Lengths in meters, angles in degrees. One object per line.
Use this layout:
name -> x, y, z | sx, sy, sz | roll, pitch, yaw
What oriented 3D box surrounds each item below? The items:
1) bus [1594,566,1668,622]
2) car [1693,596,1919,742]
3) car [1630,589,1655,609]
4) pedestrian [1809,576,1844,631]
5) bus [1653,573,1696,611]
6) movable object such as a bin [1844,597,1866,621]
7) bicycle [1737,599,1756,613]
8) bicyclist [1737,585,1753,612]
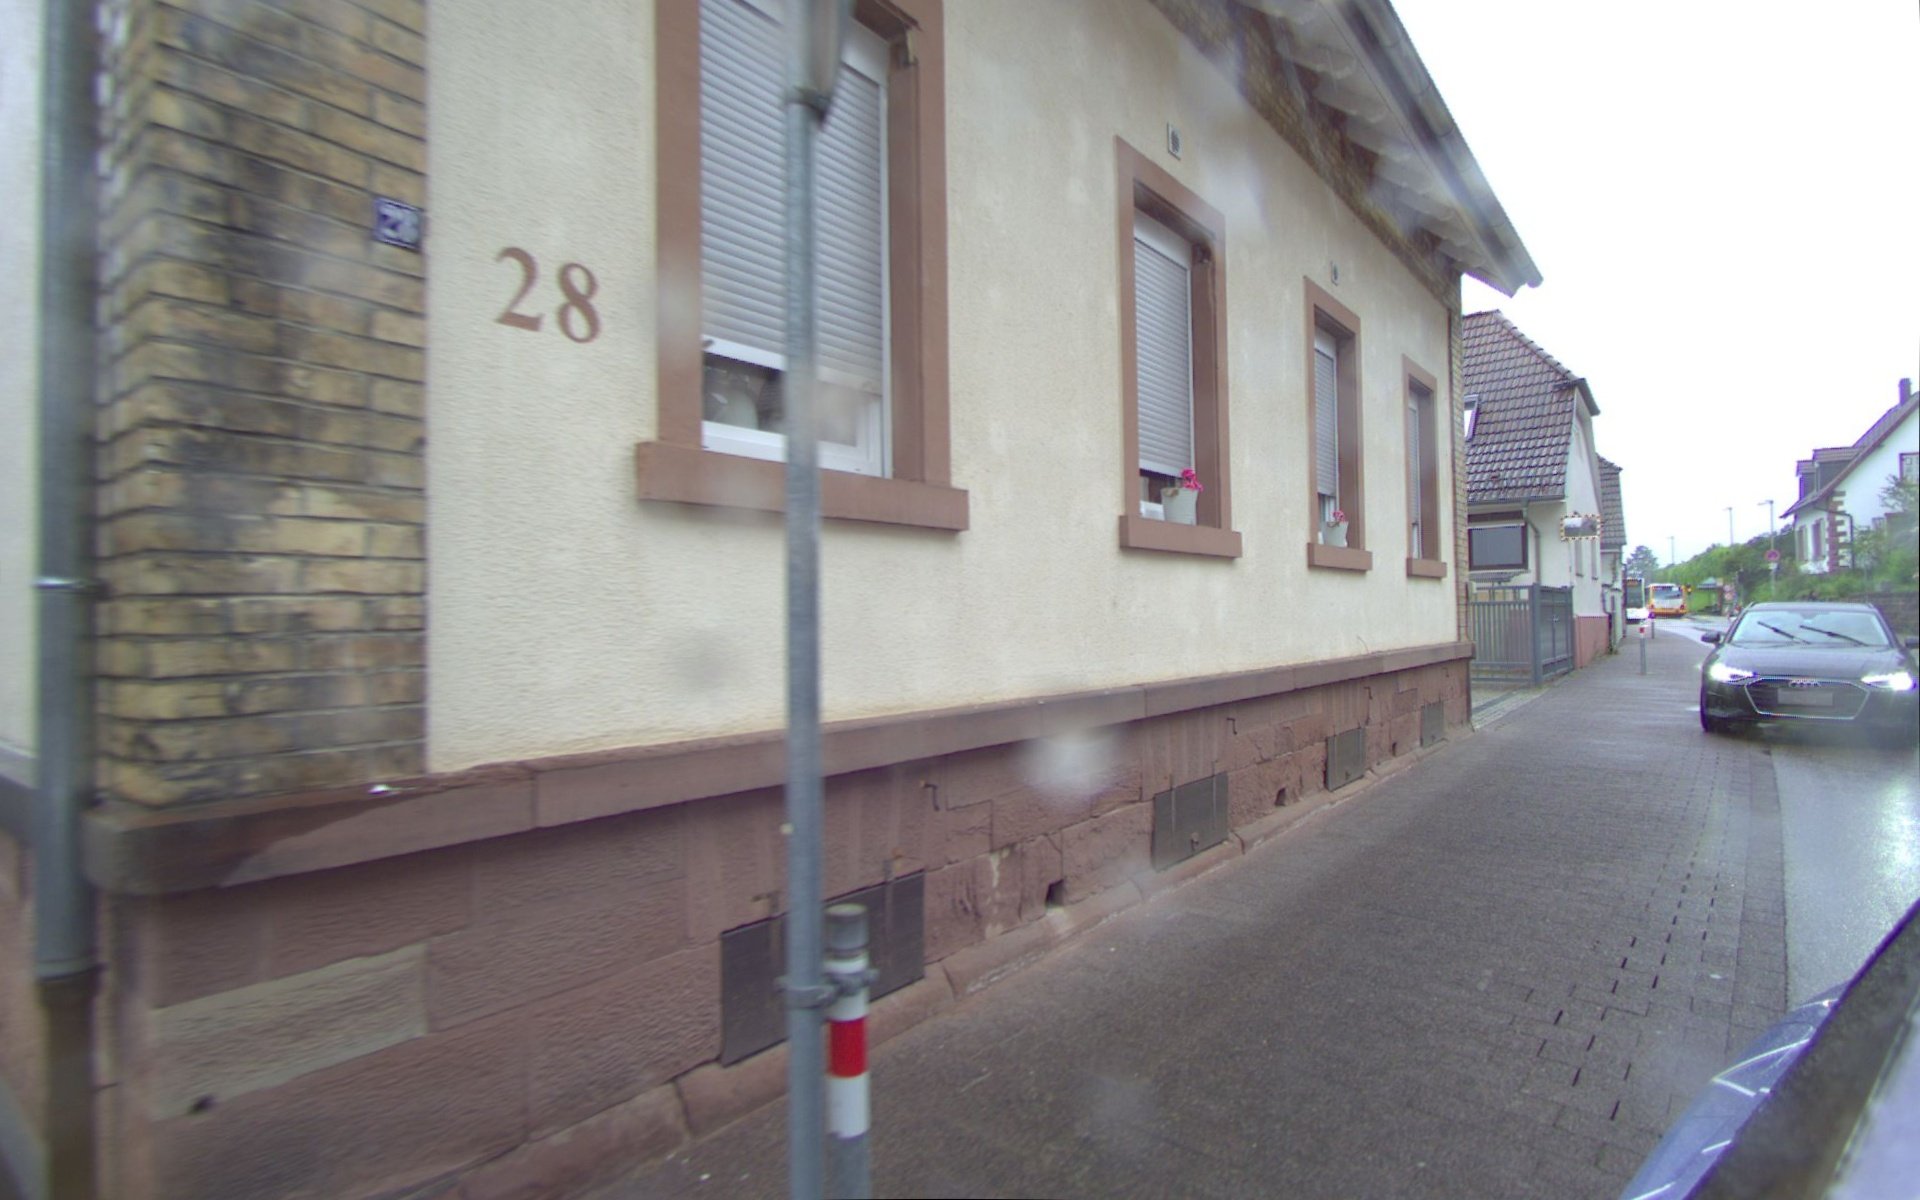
bus -> 46.718, -0.407, 70.869 | 3.414, 3.455, 13.721 | -2, -1, 30
car -> 9.765, 0.664, 11.678 | 1.767, 1.374, 4.140 | -2, -1, 32
car -> 76.482, -0.131, 113.447 | 1.983, 2.039, 4.198 | -3, -1, 31
pedestrian -> 28.185, 0.130, 32.921 | 0.691, 1.754, 0.812 | -2, -1, 31
bus -> 62.748, -0.653, 88.932 | 2.796, 2.977, 11.790 | -3, -2, 35
movable object such as a bin -> 37.407, 0.379, 42.308 | 0.535, 0.942, 0.539 | -3, -1, 29
bicycle -> 52.243, 0.395, 67.247 | 0.657, 0.882, 1.914 | -3, -4, 29
bicyclist -> 52.197, -0.103, 67.278 | 0.653, 1.793, 0.696 | -3, -4, 29
